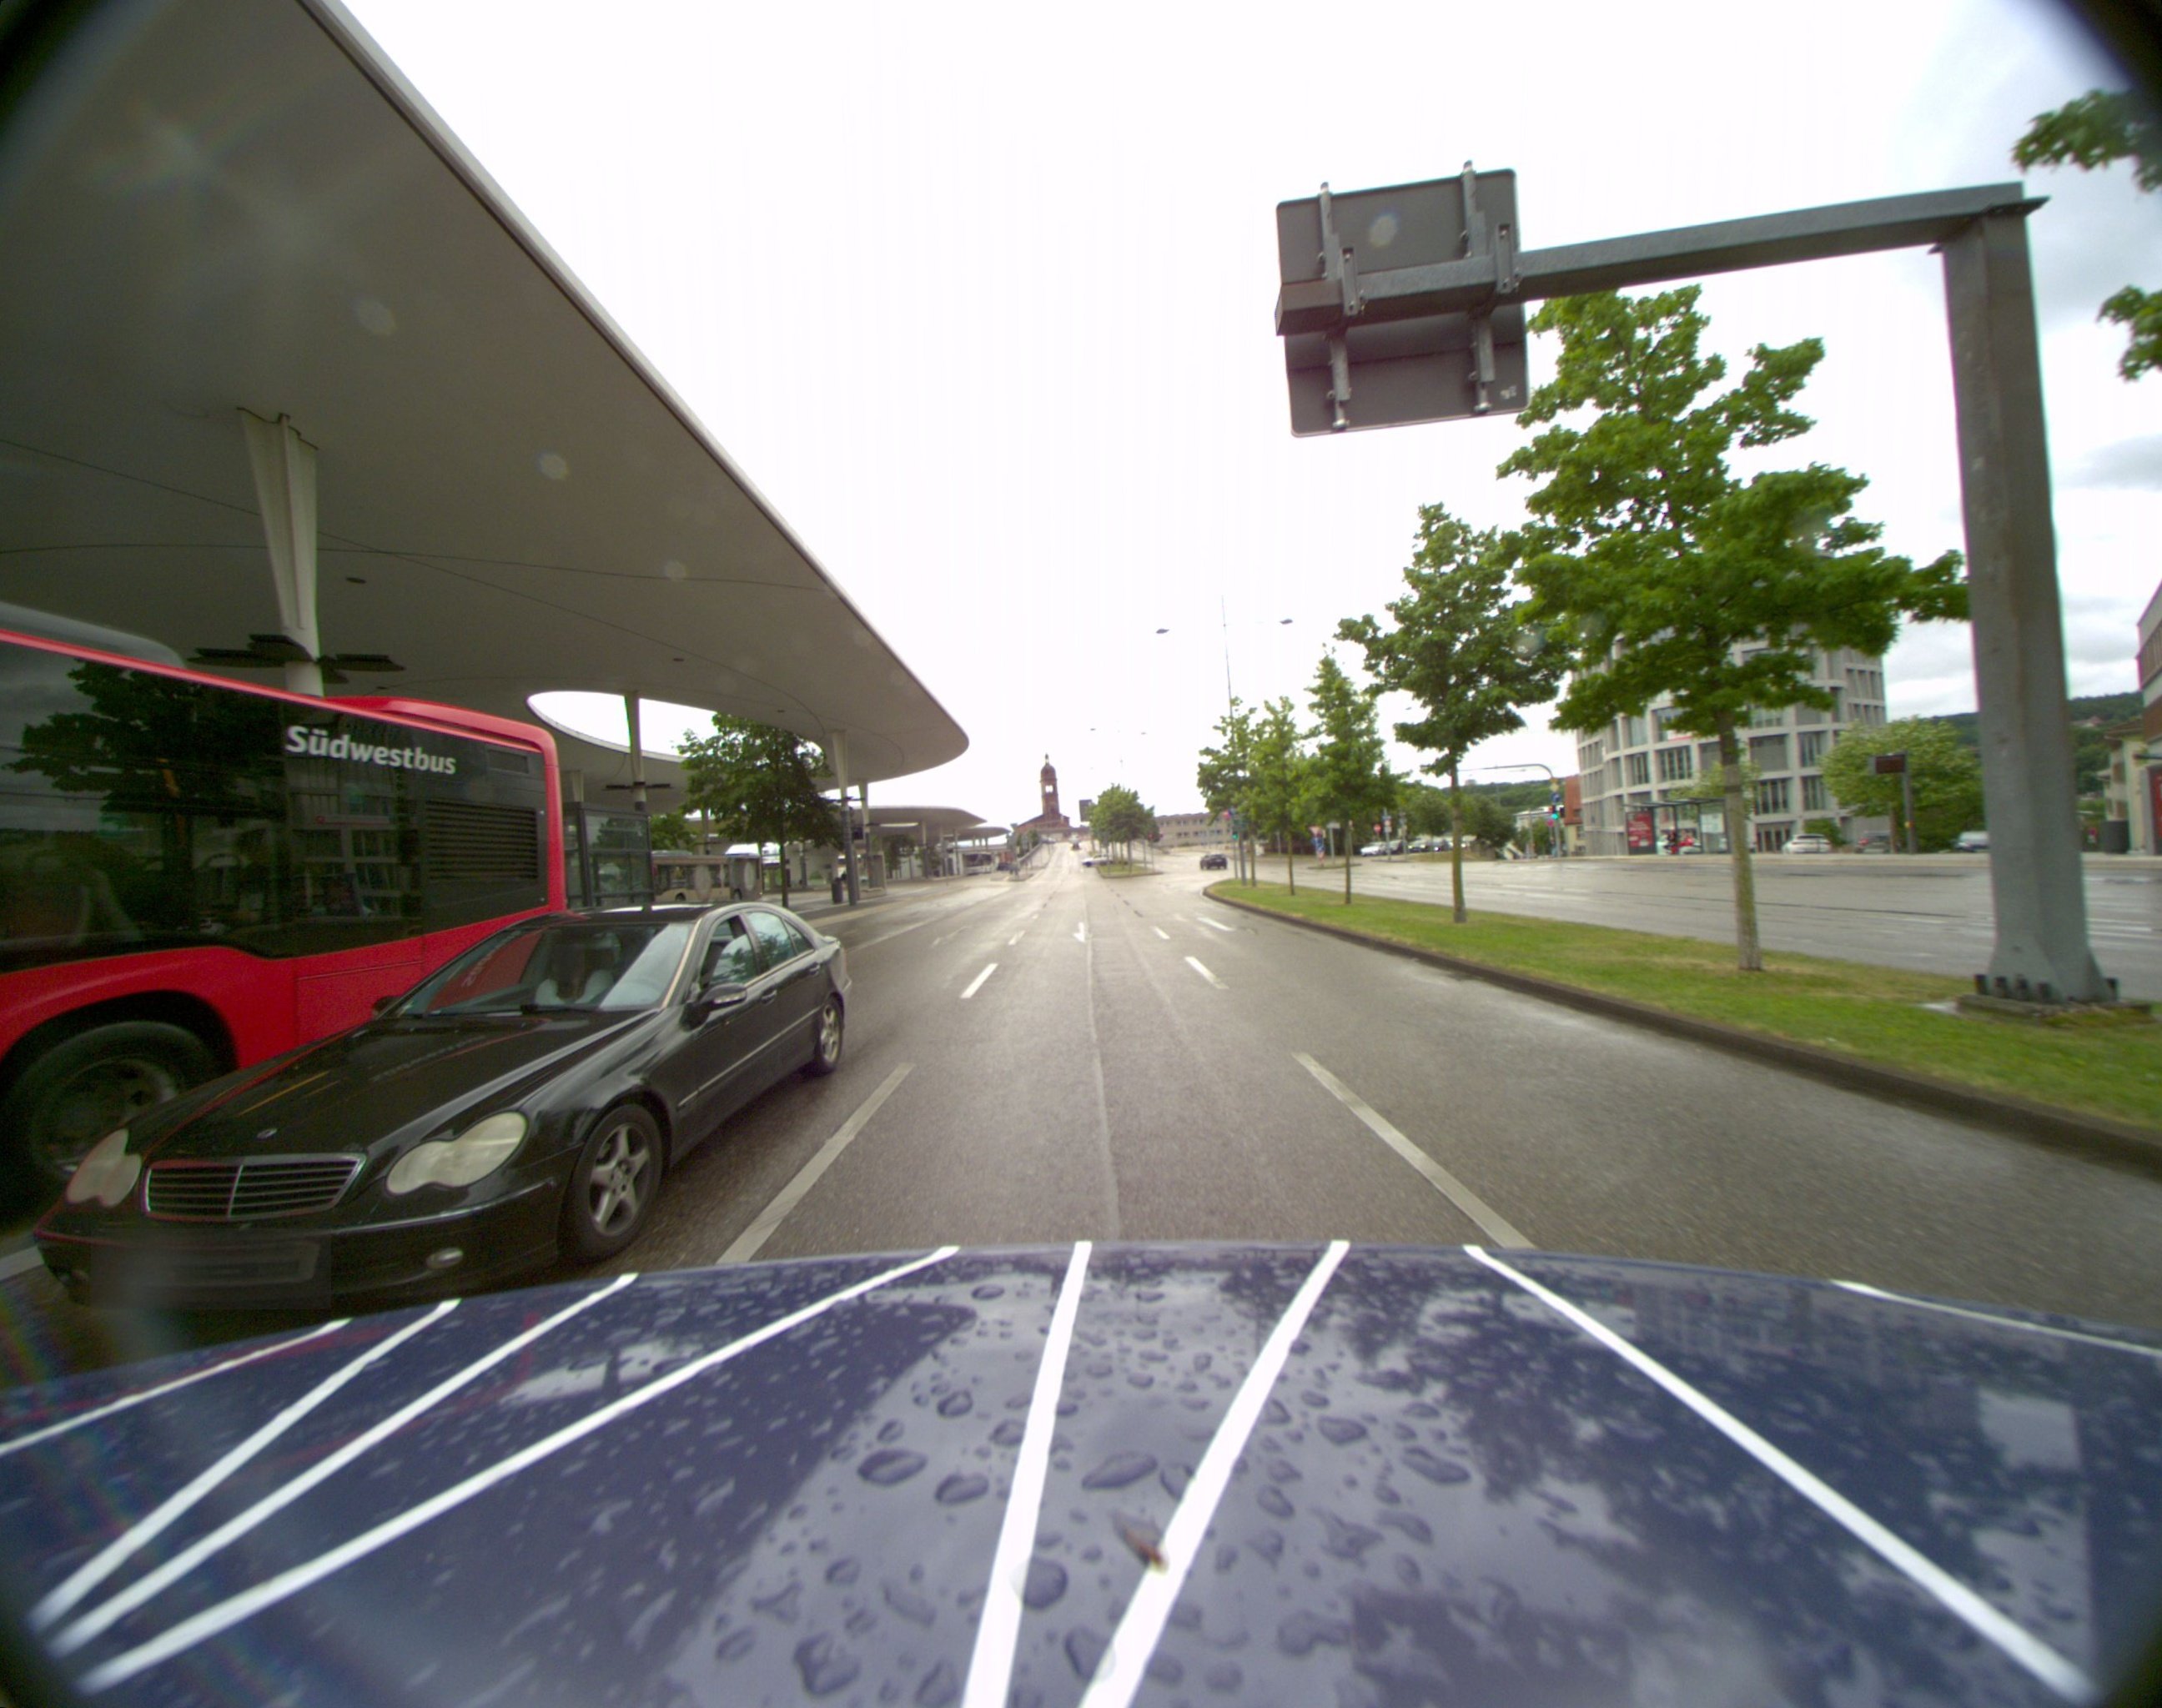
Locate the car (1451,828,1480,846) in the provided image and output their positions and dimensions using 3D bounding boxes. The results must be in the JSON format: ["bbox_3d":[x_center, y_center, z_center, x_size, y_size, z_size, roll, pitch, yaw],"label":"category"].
[{"bbox_3d":[47.349,-2.083,93.600,1.994,2.001,4.008,-2,-1,44],"label":"car"}]

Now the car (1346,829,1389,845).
[{"bbox_3d":[39.202,-2.309,104.037,2.315,2.002,5.021,-3,0,-41],"label":"car"}]

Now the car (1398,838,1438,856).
[{"bbox_3d":[36.676,-0.751,82.620,4.926,1.702,2.190,-3,0,-43],"label":"car"}]

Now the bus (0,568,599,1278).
[{"bbox_3d":[-6.186,0.343,3.352,2.750,3.155,8.120,-2,0,1],"label":"bus"}]

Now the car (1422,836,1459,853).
[{"bbox_3d":[42.060,-1.112,88.769,4.926,1.702,2.190,-3,0,-43],"label":"car"}]

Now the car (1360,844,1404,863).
[{"bbox_3d":[30.630,-0.019,77.307,4.926,1.702,2.190,-3,0,-43],"label":"car"}]

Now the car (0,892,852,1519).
[{"bbox_3d":[-2.856,1.112,4.339,1.750,1.471,4.434,-3,0,-1],"label":"car"}]

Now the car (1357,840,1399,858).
[{"bbox_3d":[32.164,-0.516,82.149,4.926,1.702,2.190,-3,0,-42],"label":"car"}]

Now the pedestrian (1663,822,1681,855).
[{"bbox_3d":[29.428,-0.771,37.830,0.504,1.625,0.502,-2,1,0],"label":"pedestrian"}]

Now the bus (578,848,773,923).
[{"bbox_3d":[-19.886,1.350,38.745,3.003,3.088,12.355,-3,0,1],"label":"bus"}]

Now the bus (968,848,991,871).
[{"bbox_3d":[-14.489,0.802,109.013,2.675,3.111,9.713,-3,0,-5],"label":"bus"}]

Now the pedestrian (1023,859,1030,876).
[{"bbox_3d":[-5.361,1.310,75.295,0.557,1.614,0.552,-3,1,0],"label":"pedestrian"}]

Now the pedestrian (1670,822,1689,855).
[{"bbox_3d":[29.977,-0.794,38.065,0.520,1.625,0.536,-2,1,0],"label":"pedestrian"}]

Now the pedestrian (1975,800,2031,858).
[{"bbox_3d":[29.218,-0.788,24.085,0.787,1.750,0.972,-3,0,-28],"label":"pedestrian"}]

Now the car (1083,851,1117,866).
[{"bbox_3d":[2.148,0.511,87.124,3.731,1.450,1.629,-3,0,5],"label":"car"}]

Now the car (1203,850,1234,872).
[{"bbox_3d":[12.108,0.620,67.086,1.998,1.765,4.000,-3,0,1],"label":"car"}]

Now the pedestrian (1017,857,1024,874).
[{"bbox_3d":[-5.990,1.141,75.565,0.557,1.614,0.552,-3,1,0],"label":"pedestrian"}]

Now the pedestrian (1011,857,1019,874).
[{"bbox_3d":[-6.562,1.119,75.586,0.576,1.614,0.588,-3,1,0],"label":"pedestrian"}]
